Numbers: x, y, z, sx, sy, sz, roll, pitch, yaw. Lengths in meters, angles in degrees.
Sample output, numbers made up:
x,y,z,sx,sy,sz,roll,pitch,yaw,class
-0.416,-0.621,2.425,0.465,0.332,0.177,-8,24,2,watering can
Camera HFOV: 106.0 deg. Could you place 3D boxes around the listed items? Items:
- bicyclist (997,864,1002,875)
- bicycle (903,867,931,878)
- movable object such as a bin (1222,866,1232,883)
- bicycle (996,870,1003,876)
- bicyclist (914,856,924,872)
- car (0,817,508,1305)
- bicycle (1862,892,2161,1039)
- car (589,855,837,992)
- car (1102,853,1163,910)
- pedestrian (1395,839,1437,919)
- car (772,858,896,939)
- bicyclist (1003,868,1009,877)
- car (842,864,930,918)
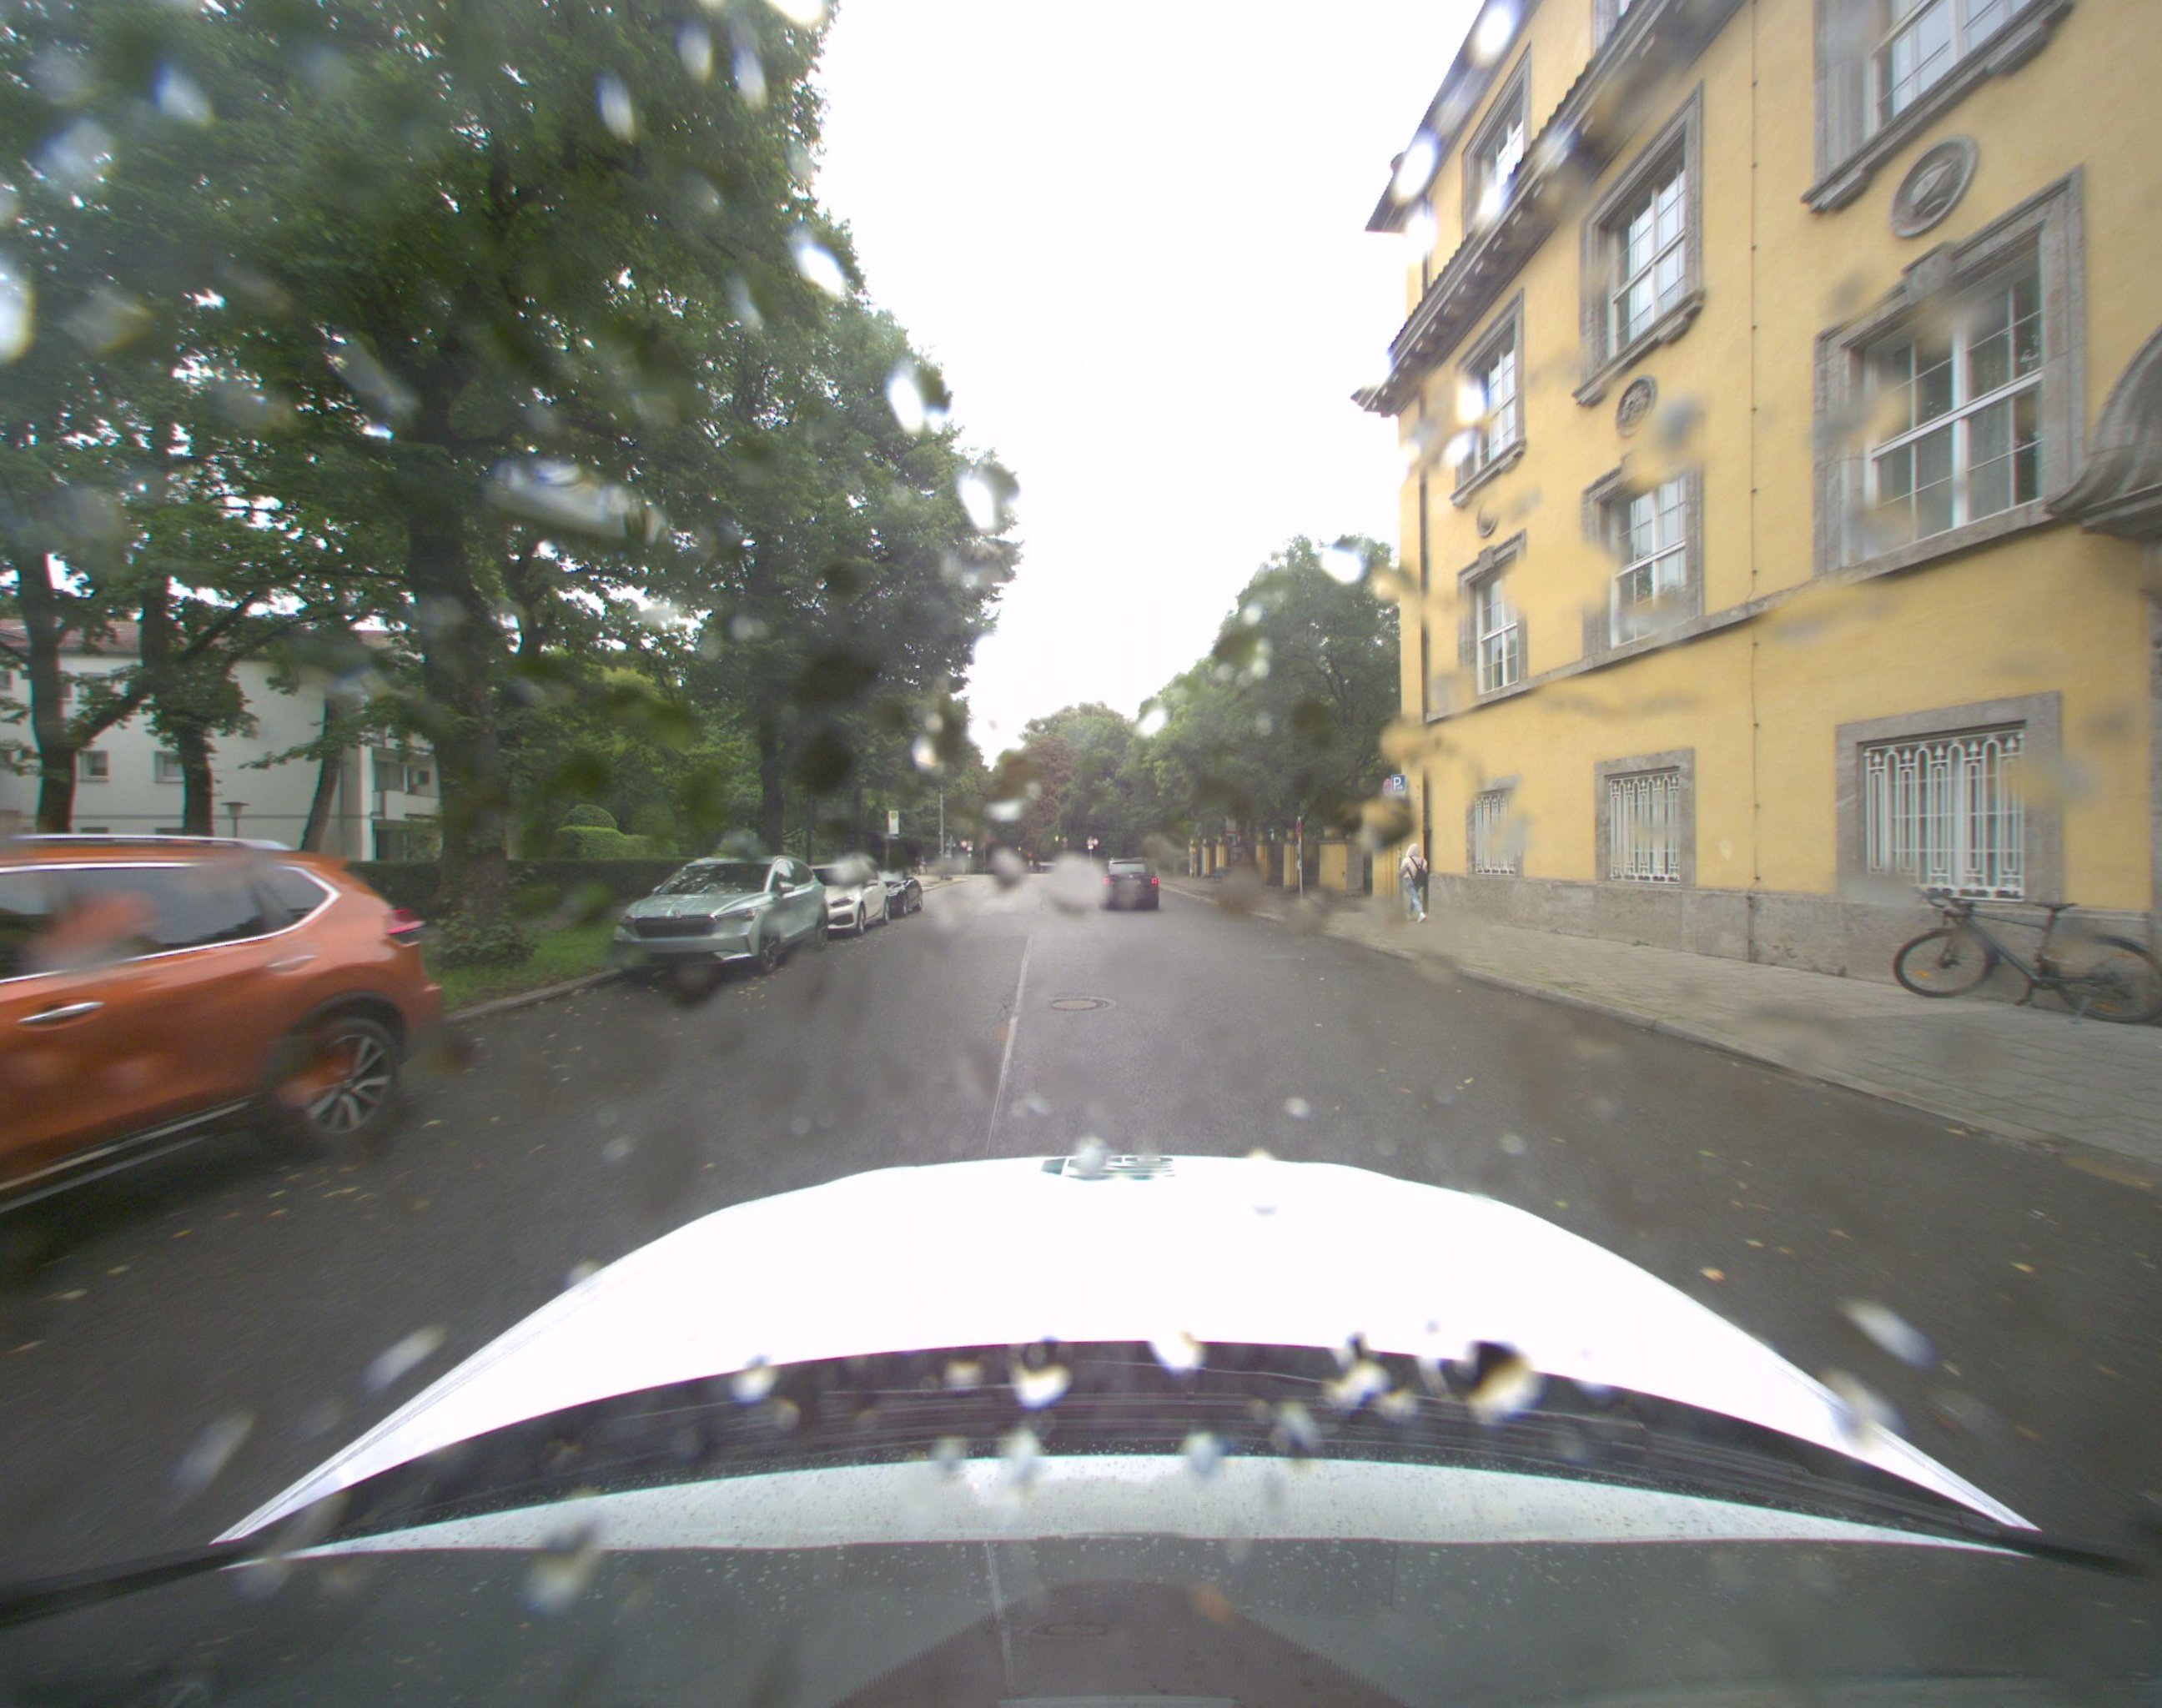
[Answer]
x,y,z,sx,sy,sz,roll,pitch,yaw,class
-11.578,2.210,115.762,0.681,1.504,0.897,-1,0,-12,bicyclist
-13.255,1.500,65.998,2.119,0.830,0.674,0,-1,-36,bicycle
6.824,0.972,38.074,0.395,0.780,0.465,-1,0,-1,movable object such as a bin
-11.552,2.730,115.583,0.680,0.830,2.101,-1,-1,-12,bicycle
-13.160,0.846,66.084,0.602,1.282,0.675,-1,0,-35,bicyclist
-4.787,0.748,3.231,1.868,1.728,4.637,-1,0,-2,car
8.186,0.878,7.111,0.678,1.006,2.054,-1,-1,-3,bicycle
-5.063,0.833,11.983,1.811,1.601,4.507,-1,0,-4,car
1.497,0.788,24.862,1.572,1.584,4.043,-1,0,0,car
6.992,0.513,17.006,0.559,1.638,0.570,-2,0,-4,pedestrian
-5.140,0.849,17.481,1.574,1.497,4.194,-1,0,-3,car
-9.425,2.333,102.278,0.680,1.187,0.480,-1,0,-6,bicyclist
-5.369,0.964,22.914,1.573,1.343,4.042,-1,0,-1,car
